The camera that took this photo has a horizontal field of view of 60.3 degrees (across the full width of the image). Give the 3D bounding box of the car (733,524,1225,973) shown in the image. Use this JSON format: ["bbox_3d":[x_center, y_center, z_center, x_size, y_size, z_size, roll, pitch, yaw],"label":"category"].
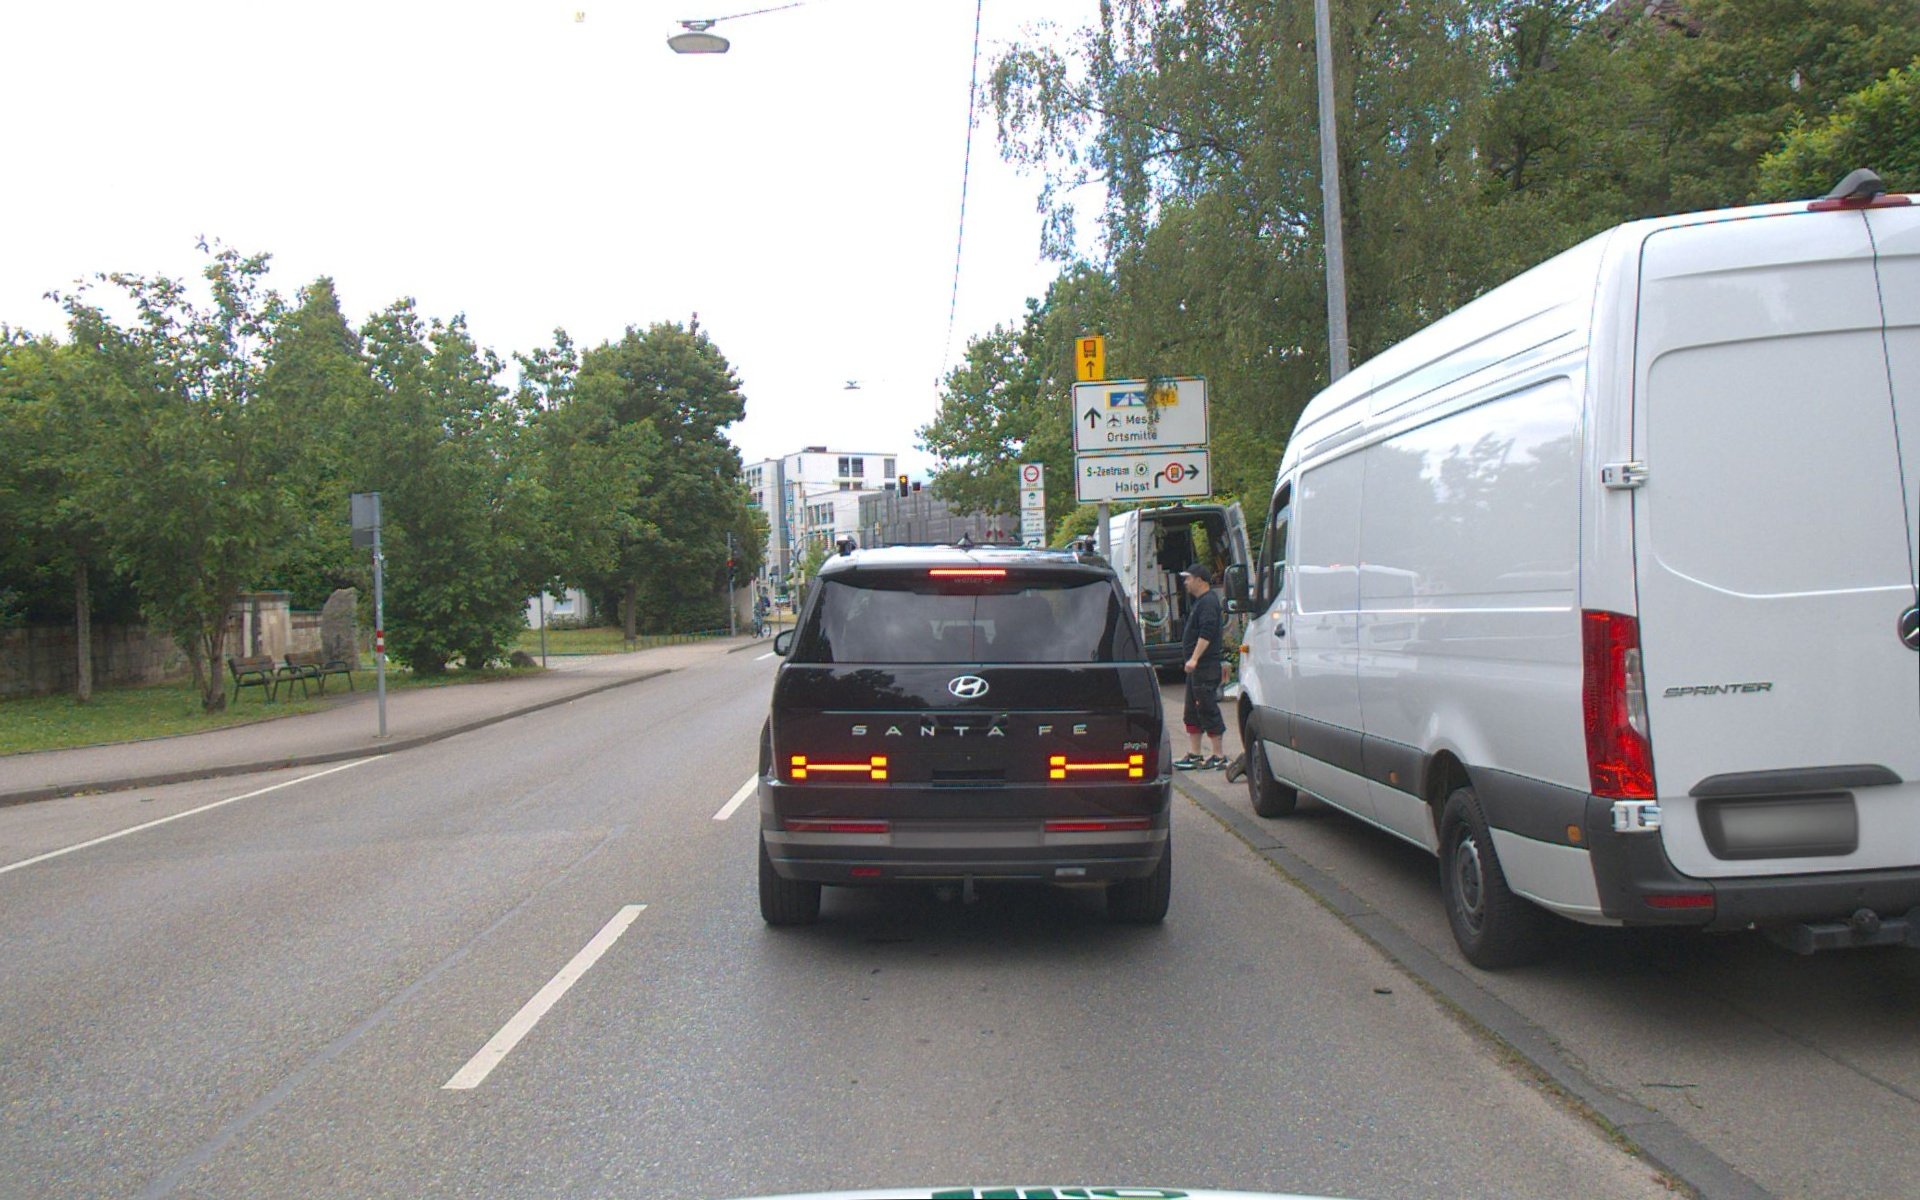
[{"bbox_3d":[0.025,0.575,8.529,1.924,1.741,3.999,-1,0,-2],"label":"car"}]

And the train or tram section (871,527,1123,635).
[{"bbox_3d":[1.311,-0.665,82.142,3.161,4.602,18.483,0,-2,-31],"label":"train or tram section"}]

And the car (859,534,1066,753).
[{"bbox_3d":[-0.032,0.402,17.533,1.924,2.036,3.999,-1,0,-2],"label":"car"}]

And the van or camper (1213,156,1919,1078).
[{"bbox_3d":[2.860,0.002,8.109,1.924,2.673,6.356,-4,0,-2],"label":"van or camper"}]

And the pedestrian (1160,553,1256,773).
[{"bbox_3d":[2.043,0.511,13.669,0.606,1.774,0.604,0,-2,-10],"label":"pedestrian"}]

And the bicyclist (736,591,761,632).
[{"bbox_3d":[-8.817,0.494,68.925,0.837,1.688,0.678,-1,-2,14],"label":"bicyclist"}]

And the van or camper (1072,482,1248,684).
[{"bbox_3d":[3.119,-0.257,26.942,1.924,2.845,5.285,-4,0,-2],"label":"van or camper"}]

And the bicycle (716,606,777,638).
[{"bbox_3d":[-8.899,0.910,68.941,2.439,1.302,0.678,-1,-2,14],"label":"bicycle"}]
